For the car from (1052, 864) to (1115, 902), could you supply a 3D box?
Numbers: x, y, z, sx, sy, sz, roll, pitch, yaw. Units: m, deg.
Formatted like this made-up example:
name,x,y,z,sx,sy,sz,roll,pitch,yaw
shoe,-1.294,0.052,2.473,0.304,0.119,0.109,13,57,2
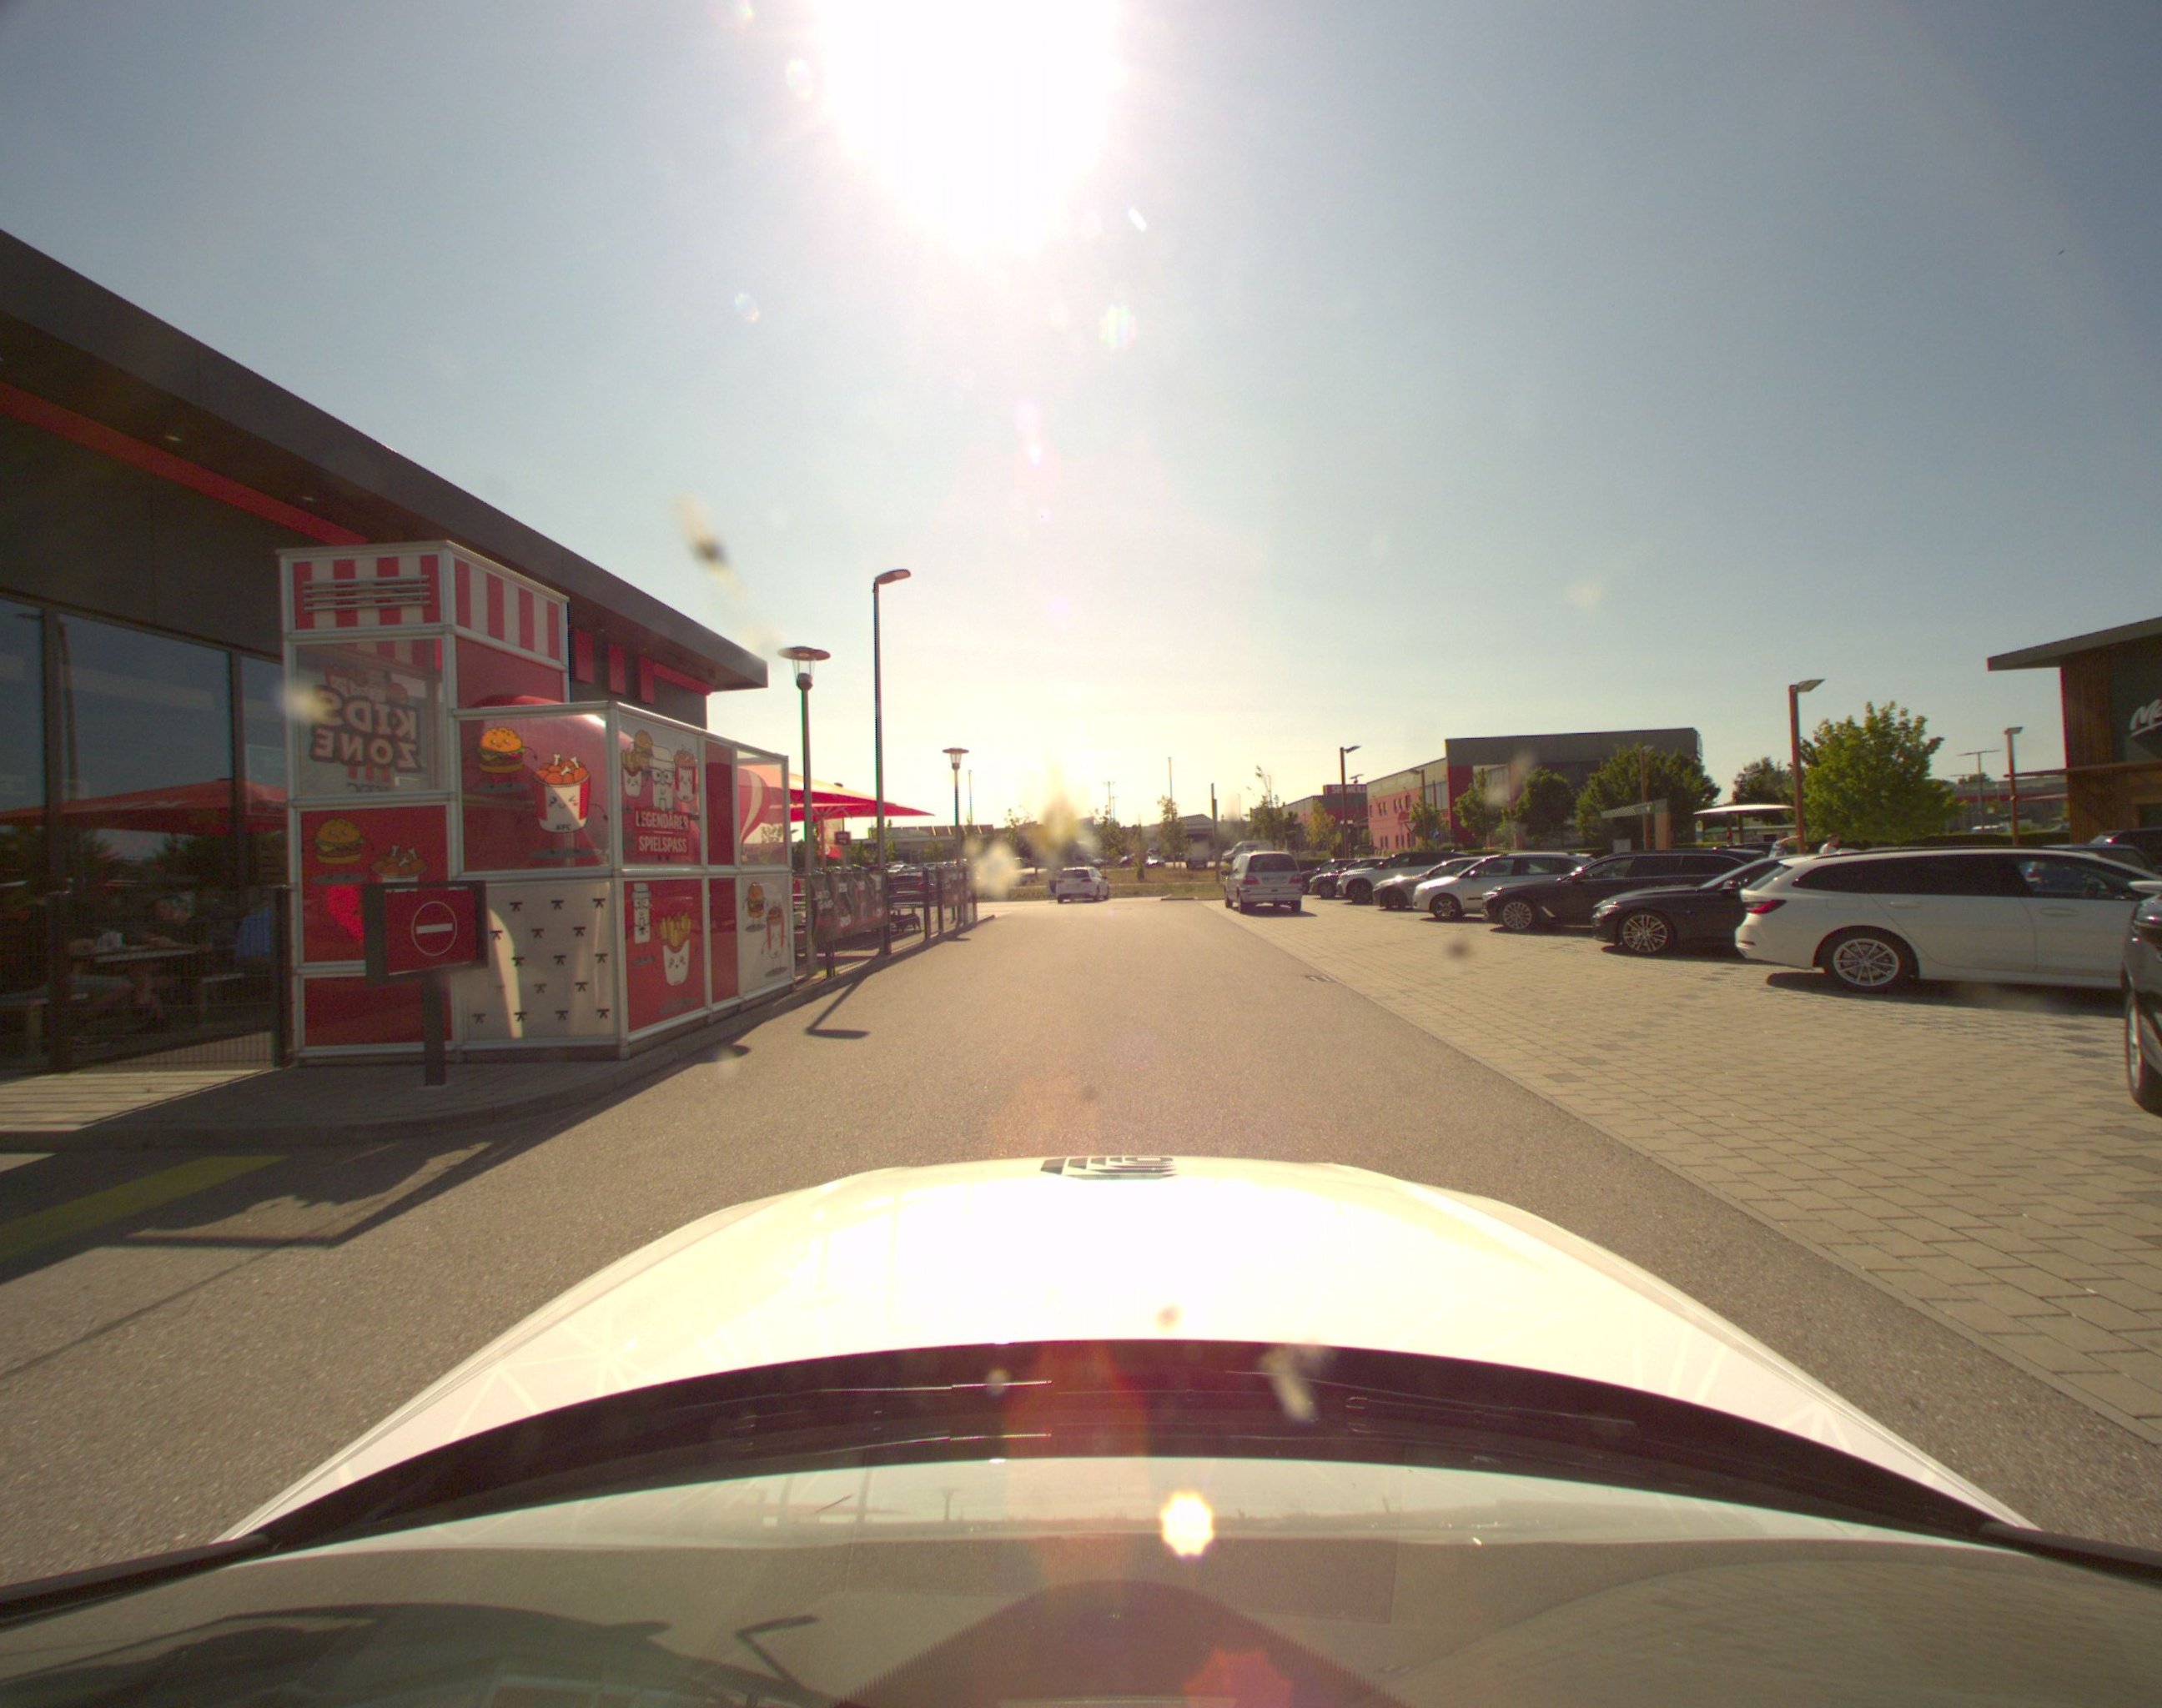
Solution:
name,x,y,z,sx,sy,sz,roll,pitch,yaw
car,0.197,1.213,35.076,1.815,1.469,4.495,-2,-2,11

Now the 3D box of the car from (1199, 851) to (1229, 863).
name,x,y,z,sx,sy,sz,roll,pitch,yaw
car,20.794,0.469,127.166,4.373,1.855,1.957,-1,-1,2

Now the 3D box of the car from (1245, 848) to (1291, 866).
name,x,y,z,sx,sy,sz,roll,pitch,yaw
car,19.671,0.320,85.665,4.373,1.855,1.957,-1,-1,2

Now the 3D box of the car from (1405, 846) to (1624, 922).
name,x,y,z,sx,sy,sz,roll,pitch,yaw
car,9.736,0.648,18.416,4.153,1.526,1.988,-2,-1,32

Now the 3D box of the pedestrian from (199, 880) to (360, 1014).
name,x,y,z,sx,sy,sz,roll,pitch,yaw
pedestrian,-8.504,0.956,8.683,0.749,1.312,0.946,-1,-1,3

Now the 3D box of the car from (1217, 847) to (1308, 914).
name,x,y,z,sx,sy,sz,roll,pitch,yaw
car,5.358,0.751,24.613,1.820,1.748,4.685,-2,-1,2

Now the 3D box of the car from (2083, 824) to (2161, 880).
name,x,y,z,sx,sy,sz,roll,pitch,yaw
car,32.491,-0.091,23.361,4.410,1.602,1.974,-2,-1,42

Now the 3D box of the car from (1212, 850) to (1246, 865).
name,x,y,z,sx,sy,sz,roll,pitch,yaw
car,20.609,0.499,113.332,4.373,1.855,1.957,-1,-1,2

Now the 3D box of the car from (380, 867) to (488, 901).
name,x,y,z,sx,sy,sz,roll,pitch,yaw
car,-35.325,1.624,44.622,1.875,1.703,4.349,-2,-1,15

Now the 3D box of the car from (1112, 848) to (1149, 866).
name,x,y,z,sx,sy,sz,roll,pitch,yaw
car,5.669,0.358,93.583,4.237,1.855,1.871,-1,-1,2

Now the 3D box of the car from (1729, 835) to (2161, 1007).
name,x,y,z,sx,sy,sz,roll,pitch,yaw
car,9.370,0.571,7.982,4.527,1.459,1.847,-2,-1,45

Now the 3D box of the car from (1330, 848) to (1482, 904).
name,x,y,z,sx,sy,sz,roll,pitch,yaw
car,10.243,0.685,25.732,4.153,1.654,1.988,-2,-1,32

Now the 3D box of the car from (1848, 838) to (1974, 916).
name,x,y,z,sx,sy,sz,roll,pitch,yaw
car,18.066,0.435,17.665,4.137,1.493,1.691,-1,-1,-42

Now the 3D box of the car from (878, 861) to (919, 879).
name,x,y,z,sx,sy,sz,roll,pitch,yaw
car,-19.652,1.735,87.774,1.975,1.855,4.311,-2,-1,26

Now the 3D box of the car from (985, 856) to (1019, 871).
name,x,y,z,sx,sy,sz,roll,pitch,yaw
car,-10.643,1.264,109.852,4.373,1.855,1.957,-1,-1,2

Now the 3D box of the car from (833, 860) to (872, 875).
name,x,y,z,sx,sy,sz,roll,pitch,yaw
car,-30.387,1.754,108.524,4.540,1.855,1.957,-1,-1,2

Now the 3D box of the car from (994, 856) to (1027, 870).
name,x,y,z,sx,sy,sz,roll,pitch,yaw
car,-9.991,1.291,115.804,4.373,1.855,1.957,-1,-1,2

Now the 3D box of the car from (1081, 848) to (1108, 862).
name,x,y,z,sx,sy,sz,roll,pitch,yaw
car,2.049,0.131,123.524,3.968,2.014,2.003,-1,-1,5

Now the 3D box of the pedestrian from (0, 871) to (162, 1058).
name,x,y,z,sx,sy,sz,roll,pitch,yaw
pedestrian,-8.374,0.873,6.710,0.793,1.443,0.694,-1,-1,1

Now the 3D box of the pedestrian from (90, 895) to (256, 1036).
name,x,y,z,sx,sy,sz,roll,pitch,yaw
pedestrian,-8.378,1.005,7.544,0.749,1.200,0.695,-1,-1,3

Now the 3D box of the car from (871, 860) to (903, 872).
name,x,y,z,sx,sy,sz,roll,pitch,yaw
car,-30.696,1.911,128.964,4.373,1.855,1.957,-1,-1,2

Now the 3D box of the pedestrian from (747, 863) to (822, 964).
name,x,y,z,sx,sy,sz,roll,pitch,yaw
pedestrian,-4.246,0.833,11.703,0.659,1.387,0.810,-2,-1,11

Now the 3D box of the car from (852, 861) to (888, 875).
name,x,y,z,sx,sy,sz,roll,pitch,yaw
car,-30.193,1.944,116.501,4.540,1.855,1.957,-1,-1,2

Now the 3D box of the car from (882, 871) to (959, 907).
name,x,y,z,sx,sy,sz,roll,pitch,yaw
car,-7.112,1.542,36.462,1.815,1.469,4.366,-2,-2,11

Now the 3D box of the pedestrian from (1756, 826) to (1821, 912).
name,x,y,z,sx,sy,sz,roll,pitch,yaw
pedestrian,15.633,0.327,18.012,0.762,1.849,0.837,-2,-1,16

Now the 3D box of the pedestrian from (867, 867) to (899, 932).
name,x,y,z,sx,sy,sz,roll,pitch,yaw
pedestrian,-4.062,0.923,16.711,0.612,1.273,0.621,-1,-1,-14

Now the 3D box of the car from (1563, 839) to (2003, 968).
name,x,y,z,sx,sy,sz,roll,pitch,yaw
car,9.373,0.595,11.294,4.315,1.459,1.848,-2,-1,43

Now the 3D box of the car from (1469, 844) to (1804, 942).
name,x,y,z,sx,sy,sz,roll,pitch,yaw
car,9.876,0.644,14.770,4.723,1.486,1.987,-2,-1,45

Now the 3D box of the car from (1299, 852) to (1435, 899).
name,x,y,z,sx,sy,sz,roll,pitch,yaw
car,10.203,0.762,29.210,4.153,1.526,1.988,-2,-1,39

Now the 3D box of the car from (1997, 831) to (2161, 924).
name,x,y,z,sx,sy,sz,roll,pitch,yaw
car,18.578,0.377,15.267,4.137,1.515,1.791,-1,-1,-42

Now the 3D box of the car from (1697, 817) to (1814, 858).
name,x,y,z,sx,sy,sz,roll,pitch,yaw
car,39.672,-0.949,48.002,5.068,2.197,2.002,-1,-1,3

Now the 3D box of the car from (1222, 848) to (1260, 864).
name,x,y,z,sx,sy,sz,roll,pitch,yaw
car,19.852,0.248,101.017,4.373,1.855,1.957,-1,-1,2

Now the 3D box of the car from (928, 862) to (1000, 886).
name,x,y,z,sx,sy,sz,roll,pitch,yaw
car,-9.040,1.552,63.174,5.180,1.731,1.992,-1,-1,6

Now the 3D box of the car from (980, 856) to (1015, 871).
name,x,y,z,sx,sy,sz,roll,pitch,yaw
car,-10.977,1.255,107.401,4.373,1.855,1.957,-1,-1,2

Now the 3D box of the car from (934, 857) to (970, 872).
name,x,y,z,sx,sy,sz,roll,pitch,yaw
car,-17.132,1.418,108.497,4.373,1.855,1.957,-1,-1,2

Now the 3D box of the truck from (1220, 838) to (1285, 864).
name,x,y,z,sx,sy,sz,roll,pitch,yaw
truck,19.703,-0.354,93.859,7.007,2.814,1.957,-1,-1,2

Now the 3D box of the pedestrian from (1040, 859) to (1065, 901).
name,x,y,z,sx,sy,sz,roll,pitch,yaw
pedestrian,-1.242,1.142,35.774,0.987,1.809,0.727,-2,-2,4

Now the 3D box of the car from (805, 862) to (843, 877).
name,x,y,z,sx,sy,sz,roll,pitch,yaw
car,-37.765,2.215,119.664,4.903,2.014,2.081,-1,-1,-2

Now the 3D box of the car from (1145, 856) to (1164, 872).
name,x,y,z,sx,sy,sz,roll,pitch,yaw
car,7.265,0.947,80.475,1.641,1.459,3.975,-2,0,7

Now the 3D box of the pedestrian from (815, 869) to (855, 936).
name,x,y,z,sx,sy,sz,roll,pitch,yaw
pedestrian,-4.827,0.937,15.995,0.684,1.273,0.548,-1,-1,-14

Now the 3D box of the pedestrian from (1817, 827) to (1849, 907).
name,x,y,z,sx,sy,sz,roll,pitch,yaw
pedestrian,17.094,0.293,18.520,0.461,1.768,0.556,-2,-1,40

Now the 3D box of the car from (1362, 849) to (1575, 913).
name,x,y,z,sx,sy,sz,roll,pitch,yaw
car,10.285,0.702,21.850,4.784,1.526,1.988,-2,-1,40

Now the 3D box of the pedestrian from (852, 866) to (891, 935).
name,x,y,z,sx,sy,sz,roll,pitch,yaw
pedestrian,-4.074,0.889,15.875,0.684,1.273,0.837,-1,-1,-14

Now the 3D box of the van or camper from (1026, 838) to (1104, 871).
name,x,y,z,sx,sy,sz,roll,pitch,yaw
van or camper,-1.681,0.127,81.970,7.951,3.101,2.435,-2,-1,36

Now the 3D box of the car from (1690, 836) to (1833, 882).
name,x,y,z,sx,sy,sz,roll,pitch,yaw
car,27.723,0.193,33.259,4.211,1.691,1.995,-2,0,-2

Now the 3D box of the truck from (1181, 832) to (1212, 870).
name,x,y,z,sx,sy,sz,roll,pitch,yaw
truck,11.326,-0.267,79.689,2.744,3.481,6.848,-2,0,8

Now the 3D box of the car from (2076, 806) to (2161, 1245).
name,x,y,z,sx,sy,sz,roll,pitch,yaw
car,5.213,0.580,2.915,4.327,1.591,1.835,-2,0,-42

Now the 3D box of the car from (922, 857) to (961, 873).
name,x,y,z,sx,sy,sz,roll,pitch,yaw
car,-17.120,1.306,100.337,4.373,1.855,1.957,-1,-1,2

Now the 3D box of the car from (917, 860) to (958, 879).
name,x,y,z,sx,sy,sz,roll,pitch,yaw
car,-15.186,1.618,86.448,1.931,1.855,4.430,-2,-1,26

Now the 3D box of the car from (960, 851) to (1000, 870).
name,x,y,z,sx,sy,sz,roll,pitch,yaw
car,-10.254,0.661,83.269,1.931,1.855,4.430,-2,-1,26

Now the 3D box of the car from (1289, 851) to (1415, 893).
name,x,y,z,sx,sy,sz,roll,pitch,yaw
car,10.732,0.712,32.429,1.987,1.526,4.280,-2,0,-43

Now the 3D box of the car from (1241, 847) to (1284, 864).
name,x,y,z,sx,sy,sz,roll,pitch,yaw
car,20.231,0.166,91.017,4.373,1.855,1.957,-1,-1,2
